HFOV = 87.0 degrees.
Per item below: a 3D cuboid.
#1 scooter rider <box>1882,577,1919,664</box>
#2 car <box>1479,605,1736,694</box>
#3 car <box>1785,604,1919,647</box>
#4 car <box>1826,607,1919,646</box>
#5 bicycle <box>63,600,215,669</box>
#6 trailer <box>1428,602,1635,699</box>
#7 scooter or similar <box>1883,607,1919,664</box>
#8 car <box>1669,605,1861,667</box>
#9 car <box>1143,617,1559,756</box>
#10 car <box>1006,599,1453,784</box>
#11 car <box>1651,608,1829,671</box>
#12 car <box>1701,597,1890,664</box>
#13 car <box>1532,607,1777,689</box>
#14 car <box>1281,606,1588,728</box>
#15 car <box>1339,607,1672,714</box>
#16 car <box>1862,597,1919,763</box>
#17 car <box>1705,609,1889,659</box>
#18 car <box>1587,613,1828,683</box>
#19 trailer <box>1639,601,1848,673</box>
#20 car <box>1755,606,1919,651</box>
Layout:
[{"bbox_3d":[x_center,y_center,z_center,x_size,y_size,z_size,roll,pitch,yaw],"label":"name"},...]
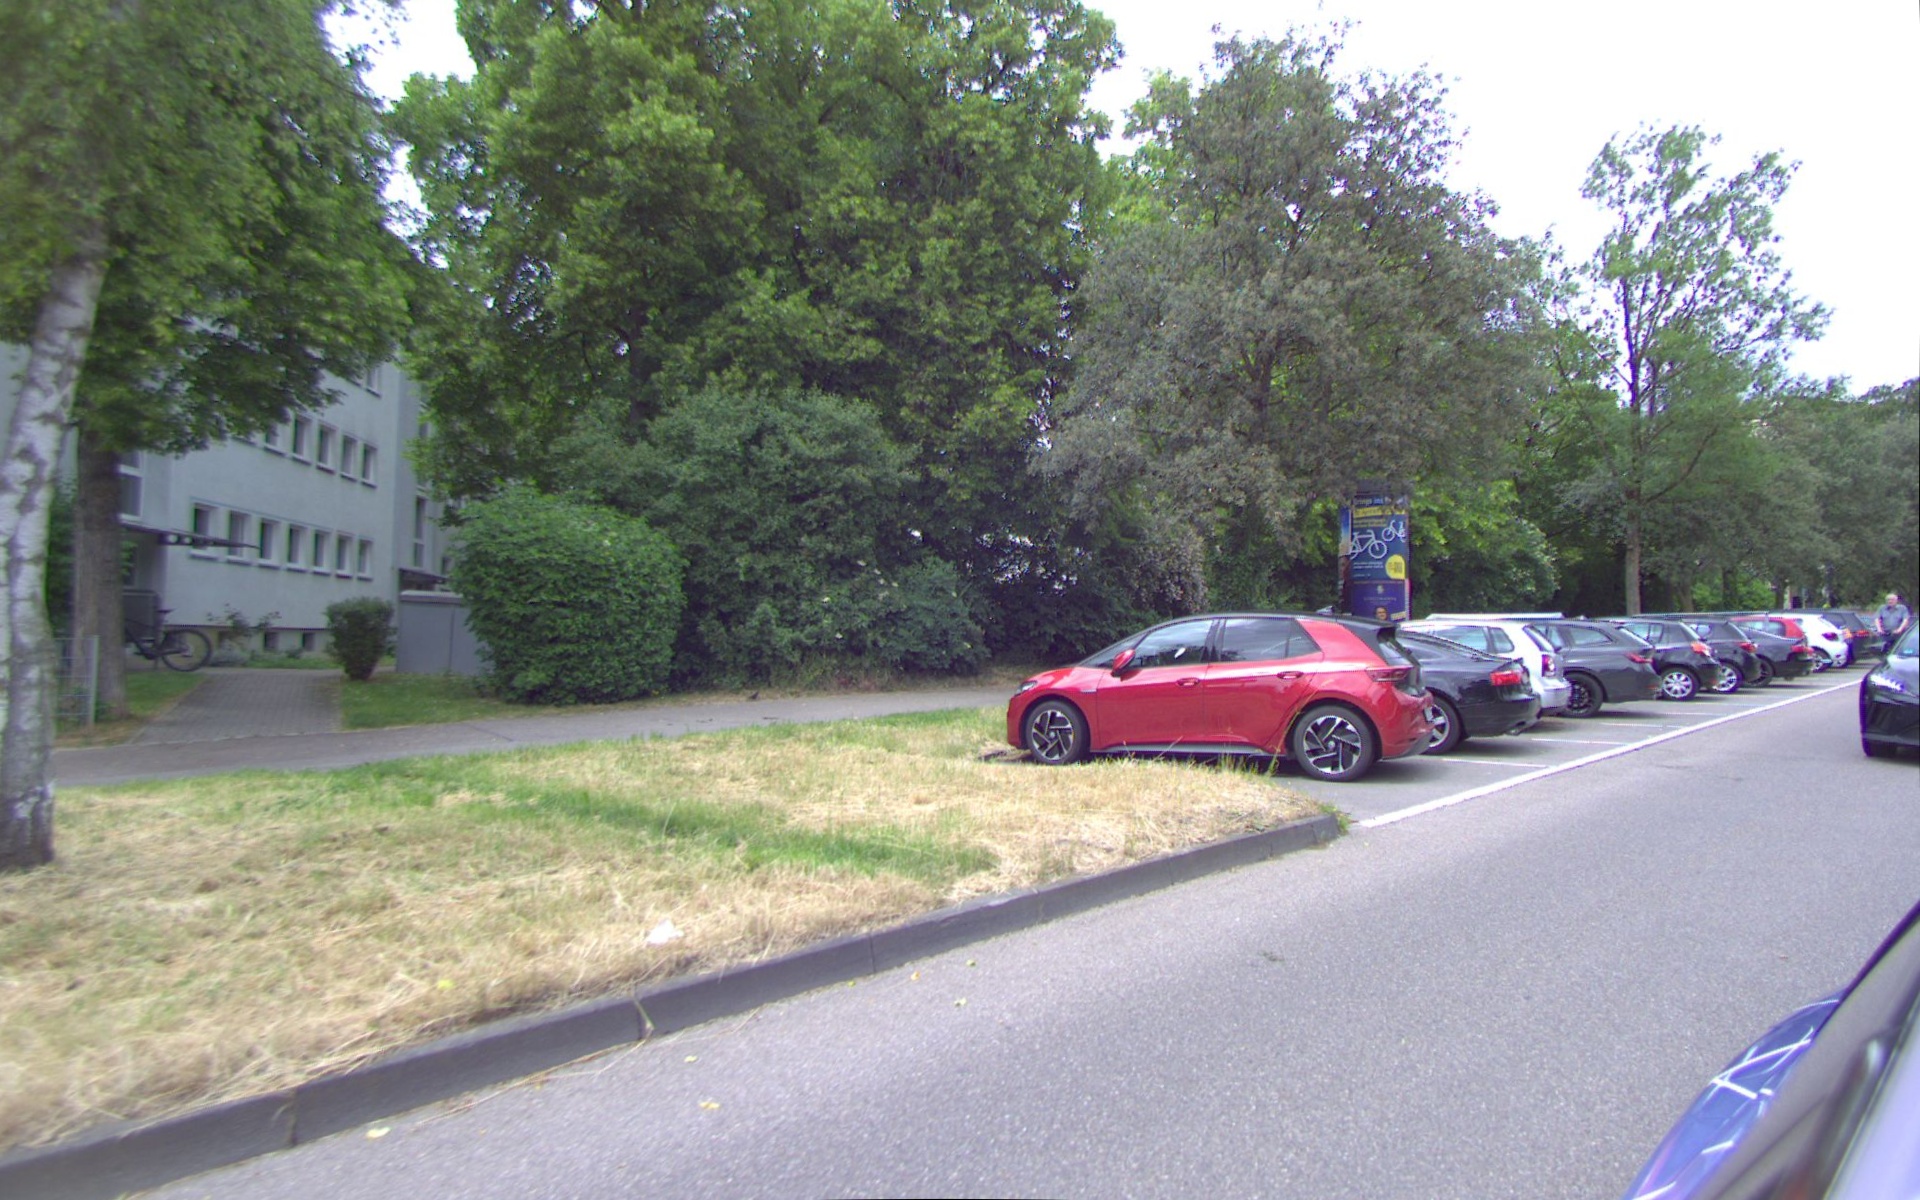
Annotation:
[{"bbox_3d":[19.627,0.417,20.977,0.681,1.752,1.177,-2,-3,45],"label":"scooter rider"},{"bbox_3d":[11.956,0.893,18.802,3.833,1.474,1.610,-2,-2,40],"label":"car"},{"bbox_3d":[32.467,0.936,36.958,3.515,1.495,1.570,-2,-2,38],"label":"car"},{"bbox_3d":[36.766,1.051,39.700,4.126,1.495,1.554,-2,-2,39],"label":"car"},{"bbox_3d":[-13.683,0.600,16.917,0.538,1.092,1.898,-4,-5,42],"label":"bicycle"},{"bbox_3d":[9.919,0.863,17.639,2.978,1.562,1.285,-2,-3,37],"label":"trailer"},{"bbox_3d":[19.616,0.727,20.939,0.681,1.154,1.436,-2,-3,45],"label":"scooter or similar"},{"bbox_3d":[21.503,0.956,27.124,1.579,1.549,3.822,0,-2,-44],"label":"car"},{"bbox_3d":[4.507,0.926,12.000,4.300,1.358,1.711,-2,-2,37],"label":"car"},{"bbox_3d":[2.650,0.803,10.213,4.051,1.535,1.714,-1,-1,31],"label":"car"},{"bbox_3d":[19.610,0.985,25.578,3.416,1.464,1.538,-2,-2,38],"label":"car"},{"bbox_3d":[23.505,0.864,28.644,3.978,1.747,1.657,-2,-2,39],"label":"car"},{"bbox_3d":[13.891,0.950,20.397,3.902,1.506,1.596,-2,-2,38],"label":"car"},{"bbox_3d":[6.482,0.873,13.942,3.597,1.464,1.613,-2,-2,35],"label":"car"},{"bbox_3d":[8.331,0.902,15.724,4.324,1.464,1.615,-2,-2,33],"label":"car"},{"bbox_3d":[11.040,0.760,10.554,4.221,1.570,1.803,1,-1,-40],"label":"car"},{"bbox_3d":[25.161,1.022,30.598,4.152,1.425,1.674,-2,-2,39],"label":"car"},{"bbox_3d":[15.965,1.006,21.792,4.028,1.344,1.537,-2,-1,39],"label":"car"},{"bbox_3d":[18.146,0.869,23.584,3.681,1.555,1.623,-3,-3,39],"label":"trailer"},{"bbox_3d":[30.473,1.018,35.301,4.215,1.483,1.610,-2,-2,42],"label":"car"}]
